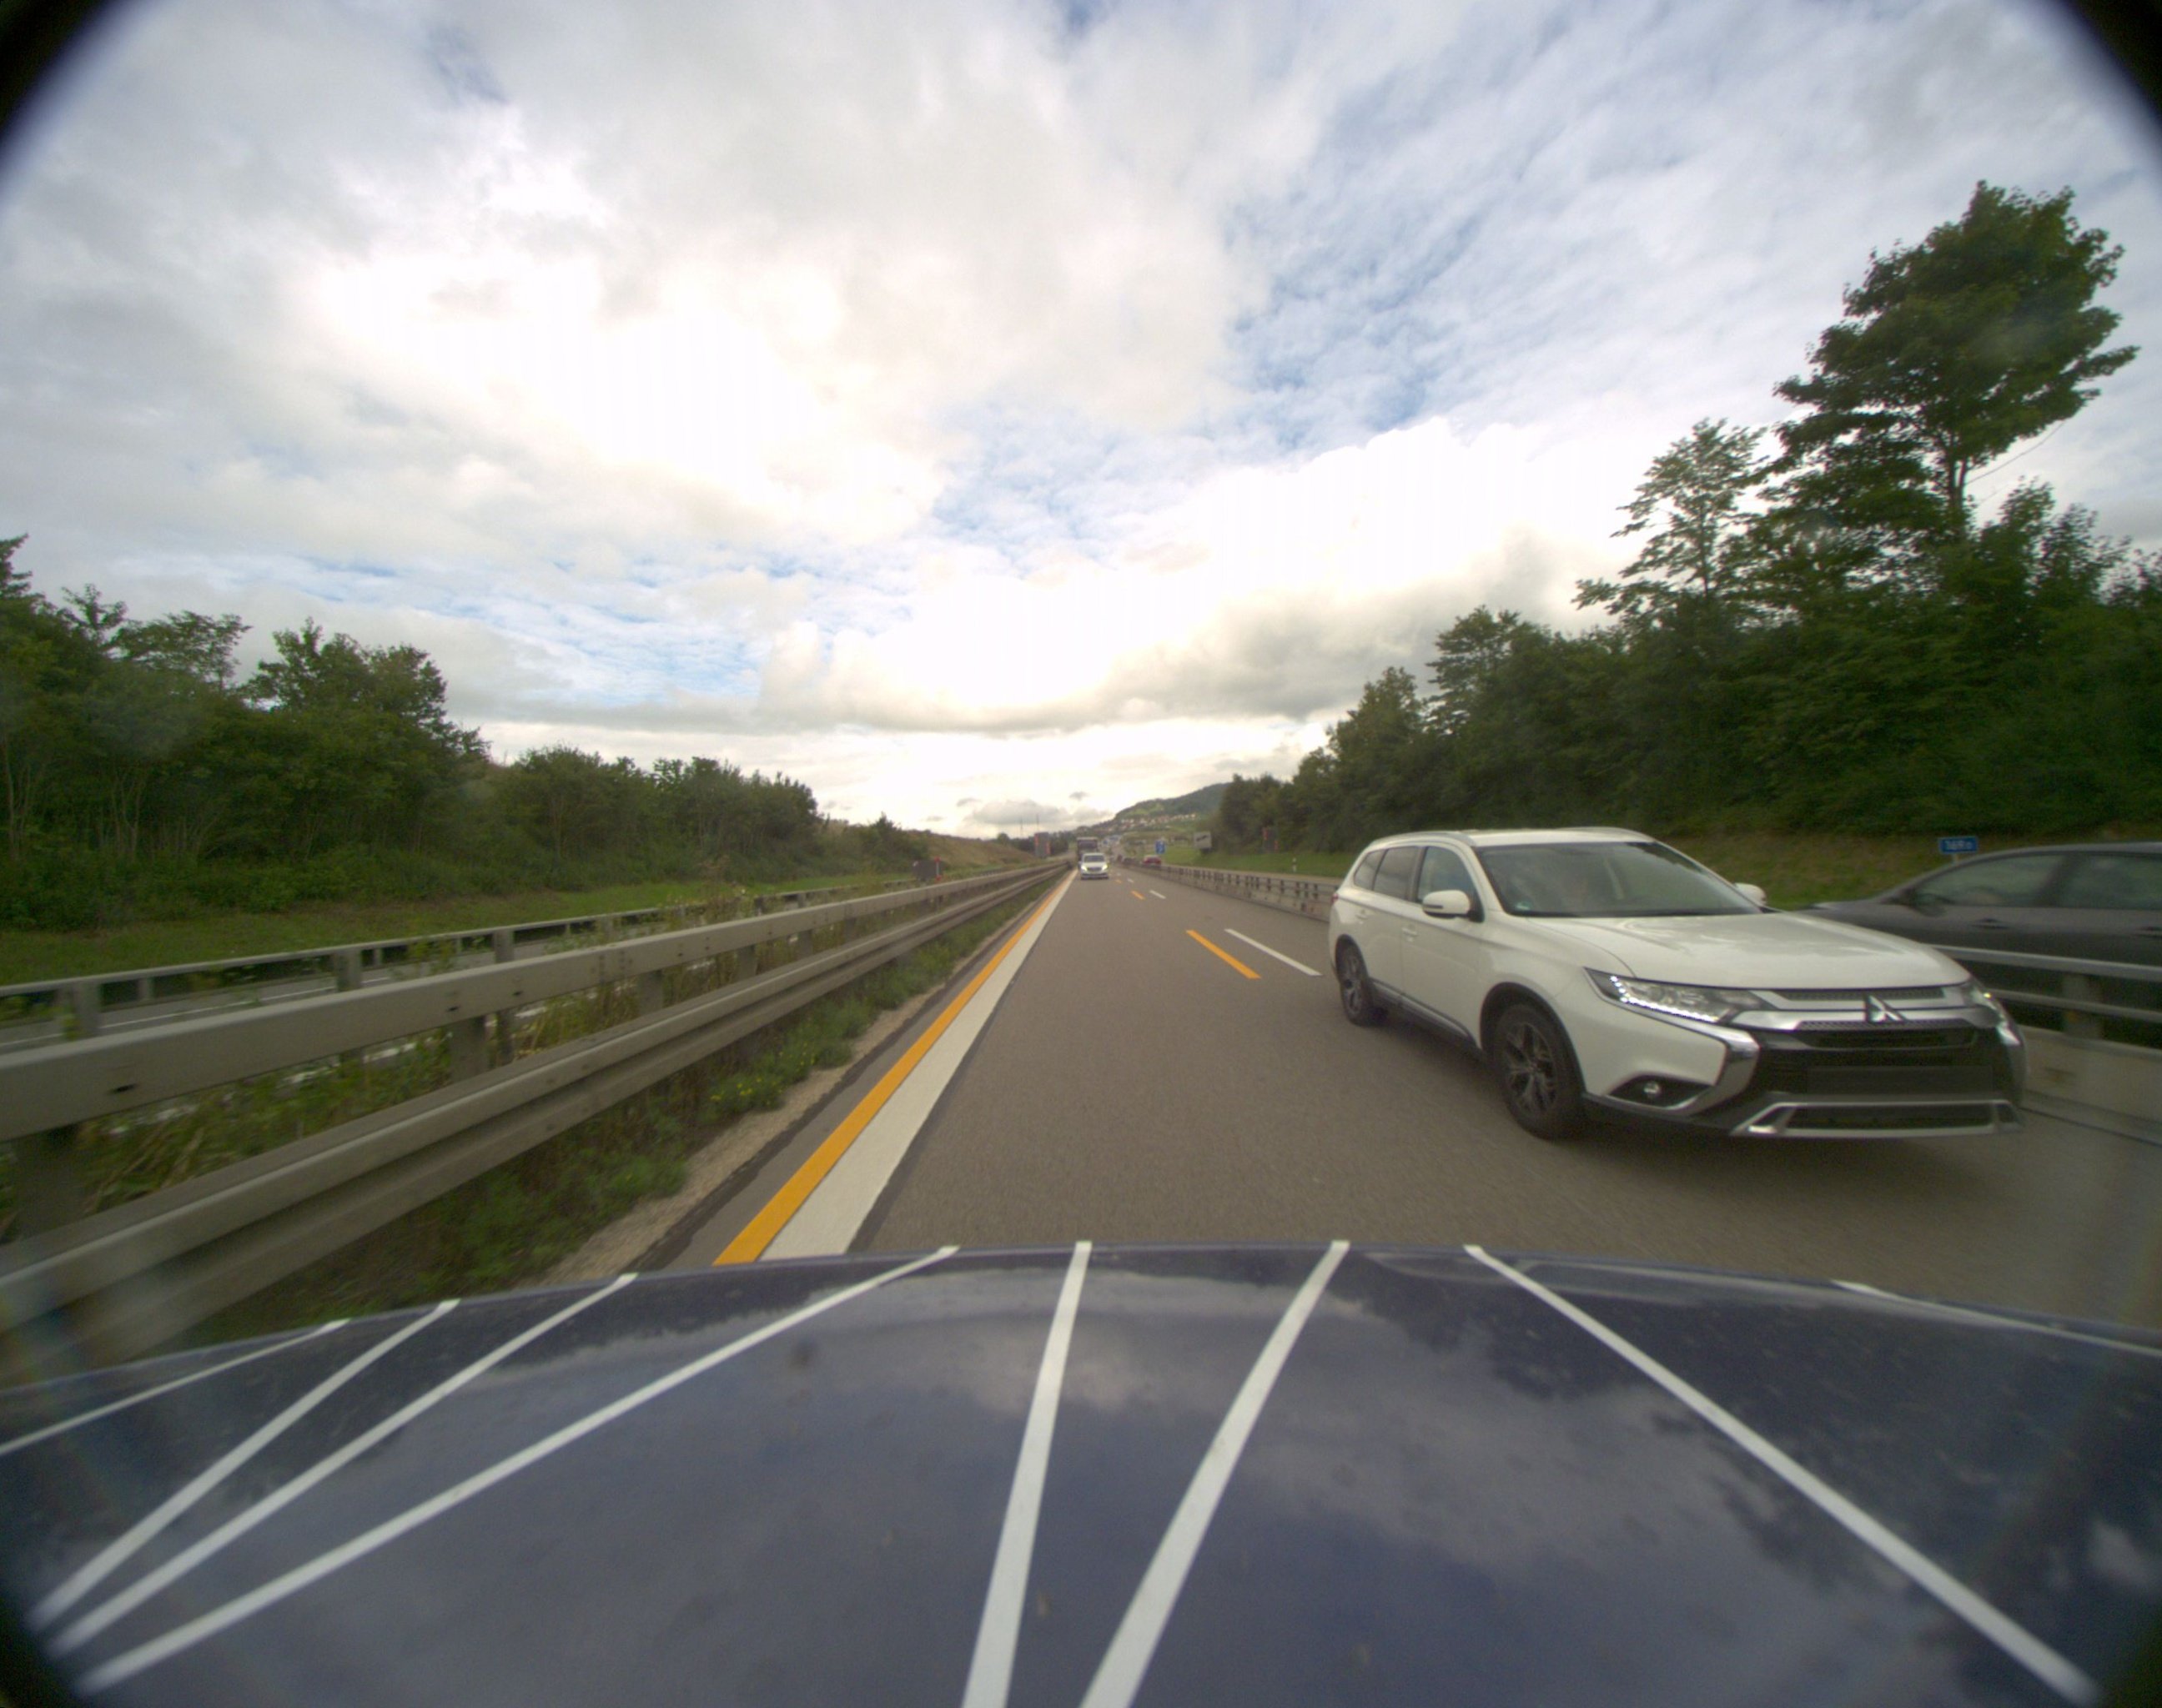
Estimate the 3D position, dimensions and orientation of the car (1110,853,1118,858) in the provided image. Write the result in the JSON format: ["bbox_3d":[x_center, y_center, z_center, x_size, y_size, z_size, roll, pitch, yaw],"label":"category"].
[{"bbox_3d":[9.230,0.390,213.240,1.998,1.512,4.953,-1,0,0],"label":"car"}]

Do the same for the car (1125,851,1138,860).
[{"bbox_3d":[8.647,0.300,130.231,2.003,1.490,4.900,-2,0,1],"label":"car"}]

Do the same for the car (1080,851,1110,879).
[{"bbox_3d":[1.000,0.741,54.082,1.991,1.787,4.586,-2,0,1],"label":"car"}]

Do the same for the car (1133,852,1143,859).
[{"bbox_3d":[12.003,0.254,160.448,1.673,1.431,3.787,-2,0,1],"label":"car"}]

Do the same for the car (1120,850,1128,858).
[{"bbox_3d":[12.752,-0.061,226.762,1.999,2.239,5.049,-2,0,-1],"label":"car"}]

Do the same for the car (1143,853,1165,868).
[{"bbox_3d":[7.912,0.650,82.224,1.939,1.482,4.589,-3,0,1],"label":"car"}]

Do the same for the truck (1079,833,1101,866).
[{"bbox_3d":[1.171,-0.581,96.907,2.521,4.081,5.685,-2,0,1],"label":"truck"}]

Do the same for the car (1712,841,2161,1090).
[{"bbox_3d":[7.752,0.687,5.725,1.998,1.498,4.832,-2,0,1],"label":"car"}]

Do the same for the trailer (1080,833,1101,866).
[{"bbox_3d":[1.278,-0.601,102.240,2.521,4.081,11.113,-2,0,1],"label":"trailer"}]

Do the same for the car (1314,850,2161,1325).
[{"bbox_3d":[3.180,0.815,4.936,1.998,1.618,4.607,-1,0,1],"label":"car"}]
